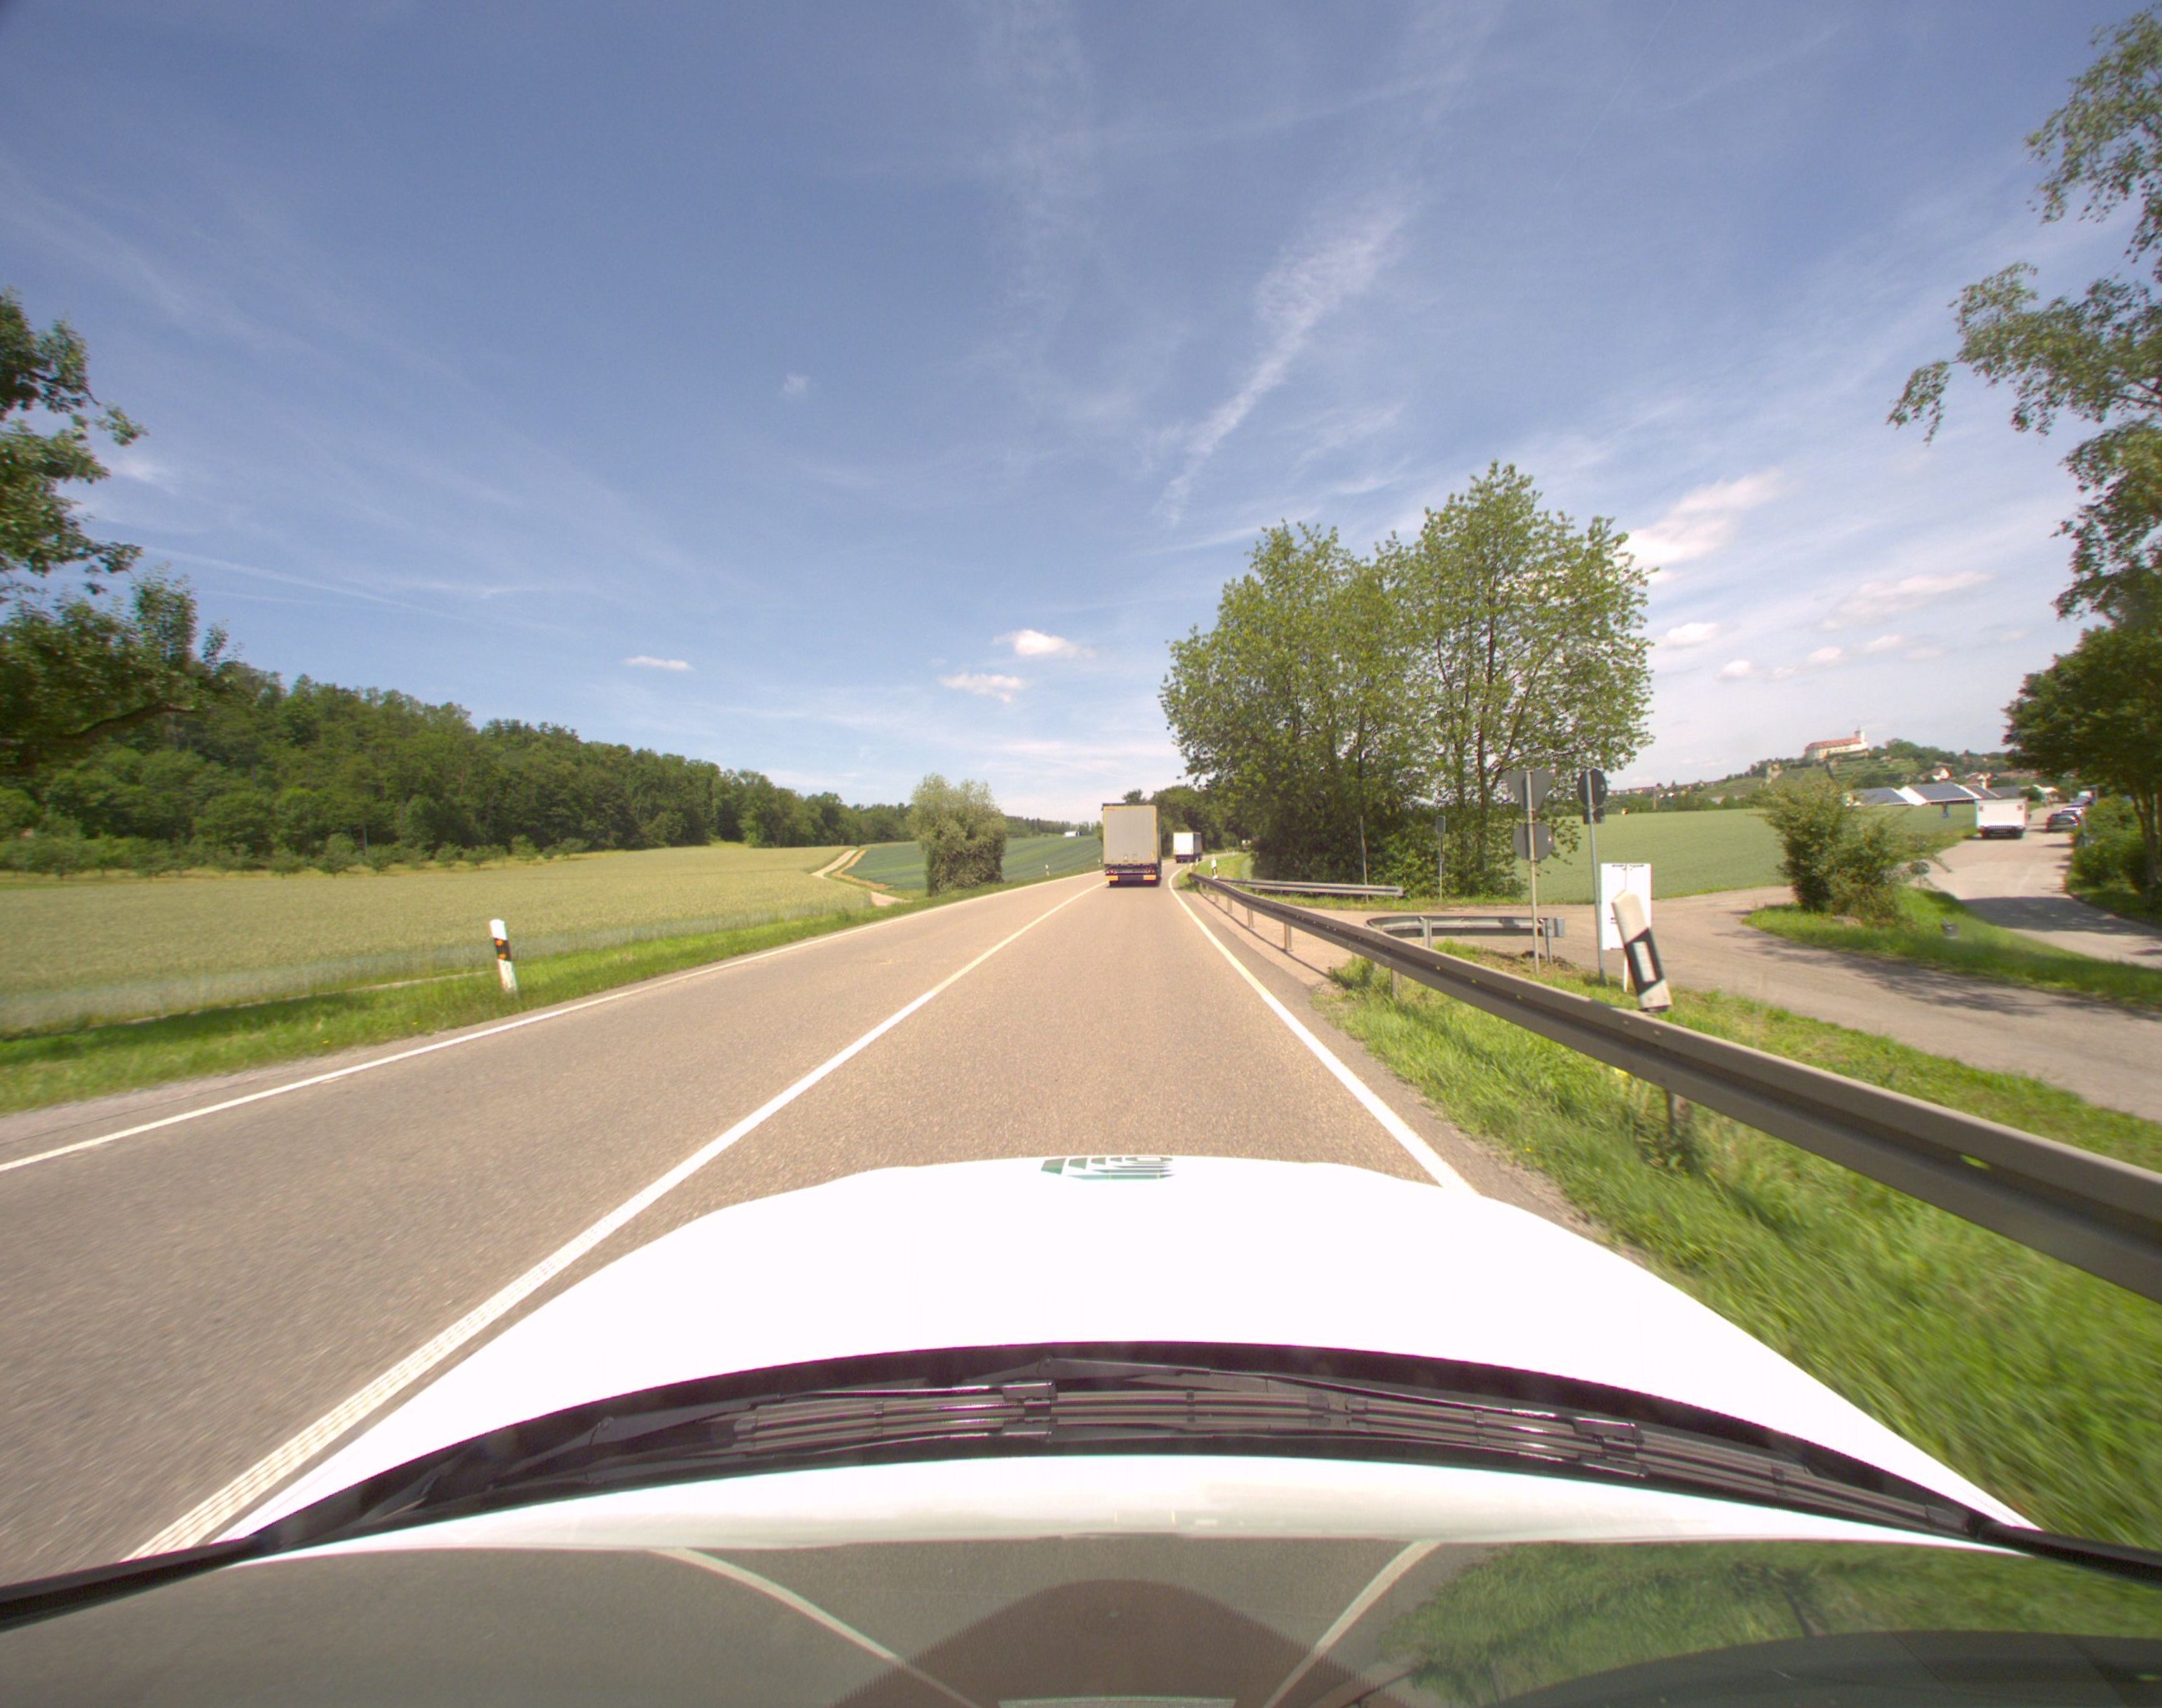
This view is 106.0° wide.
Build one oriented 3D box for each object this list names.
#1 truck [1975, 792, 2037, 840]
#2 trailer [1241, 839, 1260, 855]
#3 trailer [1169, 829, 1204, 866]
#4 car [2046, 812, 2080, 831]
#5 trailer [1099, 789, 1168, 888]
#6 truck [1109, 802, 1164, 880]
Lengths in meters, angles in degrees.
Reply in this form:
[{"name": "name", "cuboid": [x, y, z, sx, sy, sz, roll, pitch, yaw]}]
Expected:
[{"name": "truck", "cuboid": [77.449, -3.243, 68.159, 7.176, 3.535, 3.116, -5, 2, -39]}, {"name": "trailer", "cuboid": [40.741, -1.659, 195.484, 2.798, 3.309, 11.575, -2, -2, 20]}, {"name": "trailer", "cuboid": [14.509, -1.033, 111.212, 3.342, 4.315, 13.916, -2, 2, 13]}, {"name": "car", "cuboid": [86.541, -2.885, 71.770, 4.468, 1.408, 1.818, -3, -1, -40]}, {"name": "trailer", "cuboid": [2.984, -0.745, 44.760, 3.104, 4.499, 13.904, -1, 0, 5]}, {"name": "truck", "cuboid": [3.521, -0.771, 50.848, 3.103, 4.494, 6.820, -1, 0, 5]}]
